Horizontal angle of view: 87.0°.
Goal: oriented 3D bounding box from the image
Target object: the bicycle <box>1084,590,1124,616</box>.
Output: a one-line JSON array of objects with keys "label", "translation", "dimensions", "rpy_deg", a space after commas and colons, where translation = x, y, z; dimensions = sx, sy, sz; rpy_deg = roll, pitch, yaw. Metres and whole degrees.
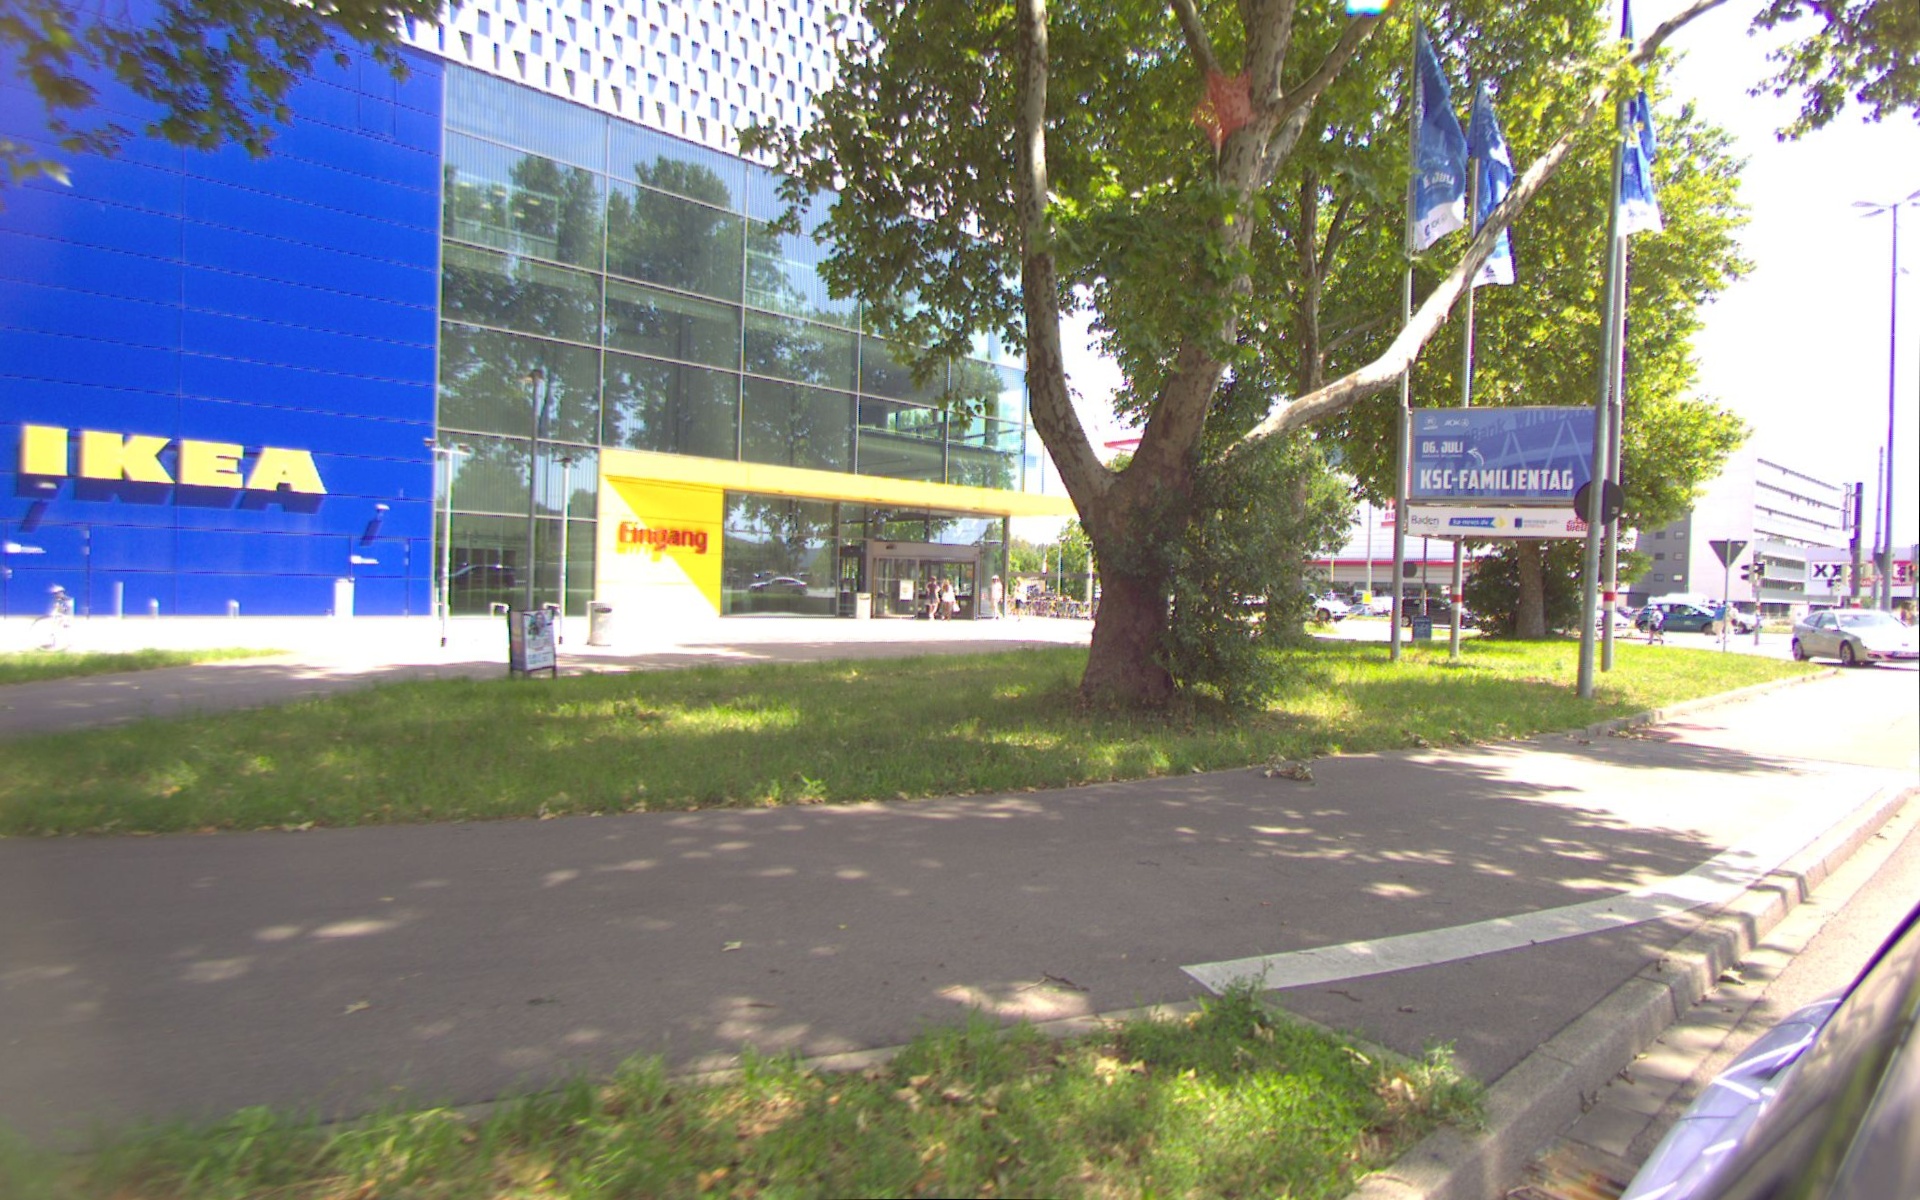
[{"label": "bicycle", "translation": [6.811, 0.131, 47.743], "dimensions": [0.798, 1.159, 2.401], "rpy_deg": [1, 1, 36]}]

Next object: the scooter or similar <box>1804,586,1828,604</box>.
[{"label": "scooter or similar", "translation": [58.029, -0.317, 68.598], "dimensions": [1.253, 1.140, 0.481], "rpy_deg": [-3, 1, -11]}]

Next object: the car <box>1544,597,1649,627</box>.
[{"label": "car", "translation": [32.741, 0.591, 52.181], "dimensions": [1.768, 1.415, 4.236], "rpy_deg": [0, 1, -32]}]

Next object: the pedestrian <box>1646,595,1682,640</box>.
[{"label": "pedestrian", "translation": [26.760, 0.657, 38.467], "dimensions": [0.834, 1.680, 0.799], "rpy_deg": [0, 0, -19]}]

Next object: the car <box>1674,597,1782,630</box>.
[{"label": "car", "translation": [36.194, 0.600, 47.733], "dimensions": [1.773, 1.414, 3.828], "rpy_deg": [0, 1, -43]}]

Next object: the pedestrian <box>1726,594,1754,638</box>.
[{"label": "pedestrian", "translation": [30.433, 0.622, 39.504], "dimensions": [0.847, 1.658, 0.608], "rpy_deg": [-1, 1, -33]}]

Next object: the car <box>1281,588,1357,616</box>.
[{"label": "car", "translation": [22.608, 0.109, 63.751], "dimensions": [1.963, 1.660, 4.079], "rpy_deg": [2, 0, -38]}]

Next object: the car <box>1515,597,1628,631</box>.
[{"label": "car", "translation": [29.930, 0.669, 49.653], "dimensions": [1.821, 1.461, 4.408], "rpy_deg": [0, 1, -41]}]

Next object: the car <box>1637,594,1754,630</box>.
[{"label": "car", "translation": [33.497, 0.522, 46.158], "dimensions": [1.965, 1.575, 3.994], "rpy_deg": [-1, 0, -40]}]

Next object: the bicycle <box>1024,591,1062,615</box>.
[{"label": "bicycle", "translation": [4.289, 0.146, 51.836], "dimensions": [0.798, 1.214, 2.401], "rpy_deg": [1, 1, 36]}]

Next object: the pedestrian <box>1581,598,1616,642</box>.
[{"label": "pedestrian", "translation": [25.013, 0.781, 39.654], "dimensions": [0.834, 1.680, 0.799], "rpy_deg": [0, 0, -23]}]

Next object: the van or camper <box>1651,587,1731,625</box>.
[{"label": "van or camper", "translation": [60.924, 0.406, 84.311], "dimensions": [7.463, 2.982, 2.720], "rpy_deg": [-1, 2, -31]}]

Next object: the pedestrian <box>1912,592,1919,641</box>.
[{"label": "pedestrian", "translation": [32.012, 0.541, 33.349], "dimensions": [0.755, 1.626, 0.894], "rpy_deg": [0, 0, -44]}]

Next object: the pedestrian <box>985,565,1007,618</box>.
[{"label": "pedestrian", "translation": [1.432, -0.340, 40.078], "dimensions": [0.718, 2.039, 0.801], "rpy_deg": [1, 0, -9]}]

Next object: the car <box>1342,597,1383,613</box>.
[{"label": "car", "translation": [37.111, 0.418, 93.342], "dimensions": [3.871, 1.393, 1.853], "rpy_deg": [0, 1, -39]}]

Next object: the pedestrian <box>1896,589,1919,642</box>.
[{"label": "pedestrian", "translation": [31.158, 0.509, 33.135], "dimensions": [0.614, 1.704, 0.724], "rpy_deg": [0, 0, -44]}]

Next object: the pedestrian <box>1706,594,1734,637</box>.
[{"label": "pedestrian", "translation": [30.044, 0.620, 40.010], "dimensions": [0.847, 1.658, 0.604], "rpy_deg": [-1, 1, -33]}]

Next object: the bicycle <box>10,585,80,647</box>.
[{"label": "bicycle", "translation": [-15.733, 0.249, 17.385], "dimensions": [0.854, 0.981, 2.062], "rpy_deg": [0, 1, -43]}]

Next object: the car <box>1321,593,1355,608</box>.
[{"label": "car", "translation": [39.470, 0.030, 105.735], "dimensions": [3.933, 1.565, 1.850], "rpy_deg": [0, 1, -44]}]

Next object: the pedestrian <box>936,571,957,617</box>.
[{"label": "pedestrian", "translation": [-0.510, -0.227, 38.187], "dimensions": [0.575, 1.693, 0.608], "rpy_deg": [0, 0, -35]}]

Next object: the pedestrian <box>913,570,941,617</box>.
[{"label": "pedestrian", "translation": [-1.221, -0.247, 37.828], "dimensions": [0.726, 1.757, 0.784], "rpy_deg": [1, 0, -32]}]

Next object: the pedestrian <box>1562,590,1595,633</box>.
[{"label": "pedestrian", "translation": [24.740, 0.450, 40.474], "dimensions": [0.834, 1.680, 0.799], "rpy_deg": [0, 0, -23]}]

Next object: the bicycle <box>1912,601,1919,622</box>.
[{"label": "bicycle", "translation": [54.525, 0.646, 56.590], "dimensions": [0.817, 1.177, 1.877], "rpy_deg": [1, 0, 4]}]

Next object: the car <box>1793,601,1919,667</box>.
[{"label": "car", "translation": [22.668, 0.777, 25.098], "dimensions": [1.710, 1.436, 4.294], "rpy_deg": [0, 1, 19]}]

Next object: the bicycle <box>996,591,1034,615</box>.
[{"label": "bicycle", "translation": [2.860, 0.152, 52.584], "dimensions": [0.798, 1.214, 2.401], "rpy_deg": [1, 1, 36]}]

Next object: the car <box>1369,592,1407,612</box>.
[{"label": "car", "translation": [44.938, 0.149, 106.278], "dimensions": [3.927, 2.039, 1.999], "rpy_deg": [-1, 0, -38]}]

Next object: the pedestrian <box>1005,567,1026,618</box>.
[{"label": "pedestrian", "translation": [2.236, -0.305, 40.513], "dimensions": [0.721, 2.039, 0.797], "rpy_deg": [1, 0, 11]}]
